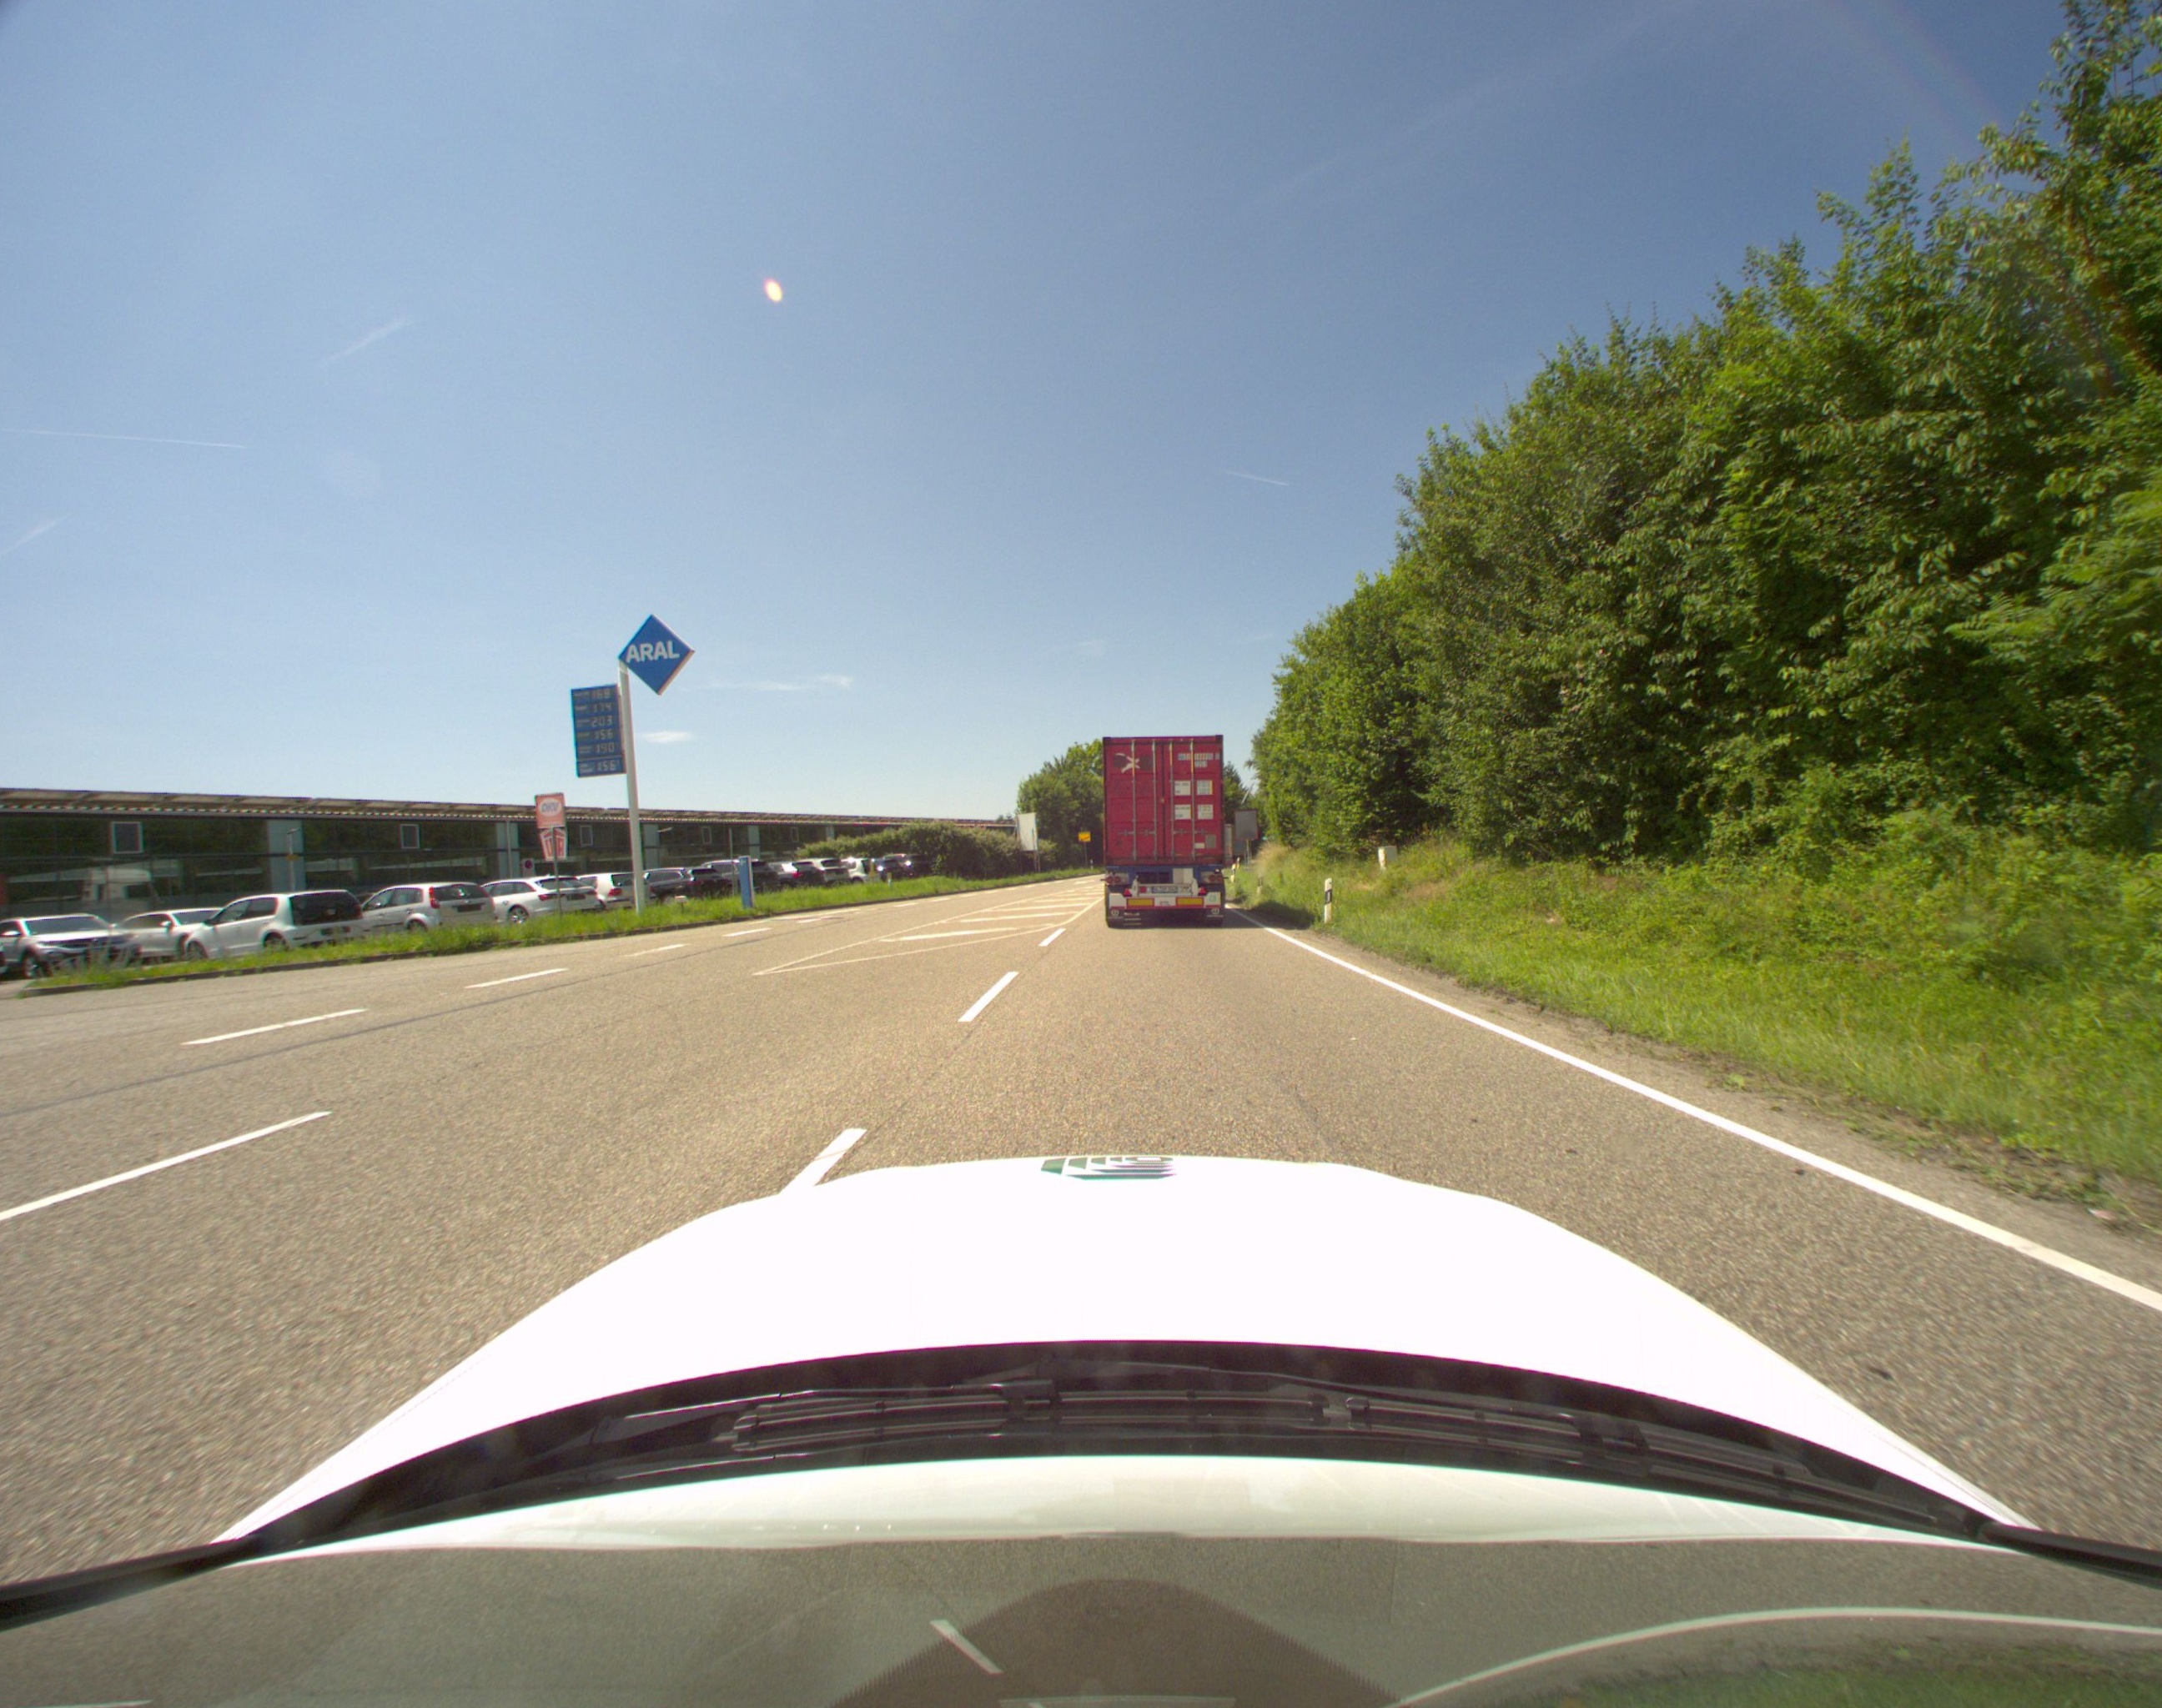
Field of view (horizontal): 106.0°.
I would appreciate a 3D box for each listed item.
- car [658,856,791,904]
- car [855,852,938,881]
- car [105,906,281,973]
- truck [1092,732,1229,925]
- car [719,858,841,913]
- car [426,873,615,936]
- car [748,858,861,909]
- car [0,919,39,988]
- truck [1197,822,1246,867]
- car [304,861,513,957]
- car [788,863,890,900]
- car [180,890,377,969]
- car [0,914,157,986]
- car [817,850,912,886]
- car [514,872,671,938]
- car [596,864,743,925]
[{"bbox_3d":[-12.790,0.915,29.272,3.954,1.332,2.010,-5,0,18],"label":"car"},{"bbox_3d":[-9.367,0.611,41.331,3.666,1.373,1.812,-1,0,19],"label":"car"},{"bbox_3d":[-25.249,2.423,23.177,3.955,1.582,1.826,-4,-1,18],"label":"car"},{"bbox_3d":[1.891,-0.491,22.932,2.637,3.806,13.368,-1,0,3],"label":"truck"},{"bbox_3d":[-11.829,1.224,32.060,3.954,1.749,2.010,-5,0,18],"label":"car"},{"bbox_3d":[-15.290,1.372,22.280,4.203,1.359,2.009,-4,0,17],"label":"car"},{"bbox_3d":[-11.692,1.245,34.513,3.954,1.749,2.010,-5,0,18],"label":"car"},{"bbox_3d":[-26.734,2.426,18.602,4.543,1.503,2.009,-4,0,16],"label":"car"},{"bbox_3d":[13.392,-0.917,76.532,2.899,3.716,13.416,-4,0,16],"label":"truck"},{"bbox_3d":[-16.510,1.340,20.046,3.956,2.013,2.009,-4,0,17],"label":"car"},{"bbox_3d":[-11.017,1.241,37.129,3.956,1.317,1.841,-5,0,16],"label":"car"},{"bbox_3d":[-17.794,1.666,18.092,3.416,1.441,1.570,-4,0,16],"label":"car"},{"bbox_3d":[-26.353,2.451,20.800,4.092,1.503,2.009,-4,0,16],"label":"car"},{"bbox_3d":[-10.398,0.657,39.208,3.957,1.362,1.828,-5,0,16],"label":"car"},{"bbox_3d":[-14.866,1.552,24.811,3.954,1.750,1.944,-4,-1,19],"label":"car"},{"bbox_3d":[-13.406,1.307,26.591,3.954,1.750,2.010,-4,-1,19],"label":"car"}]
